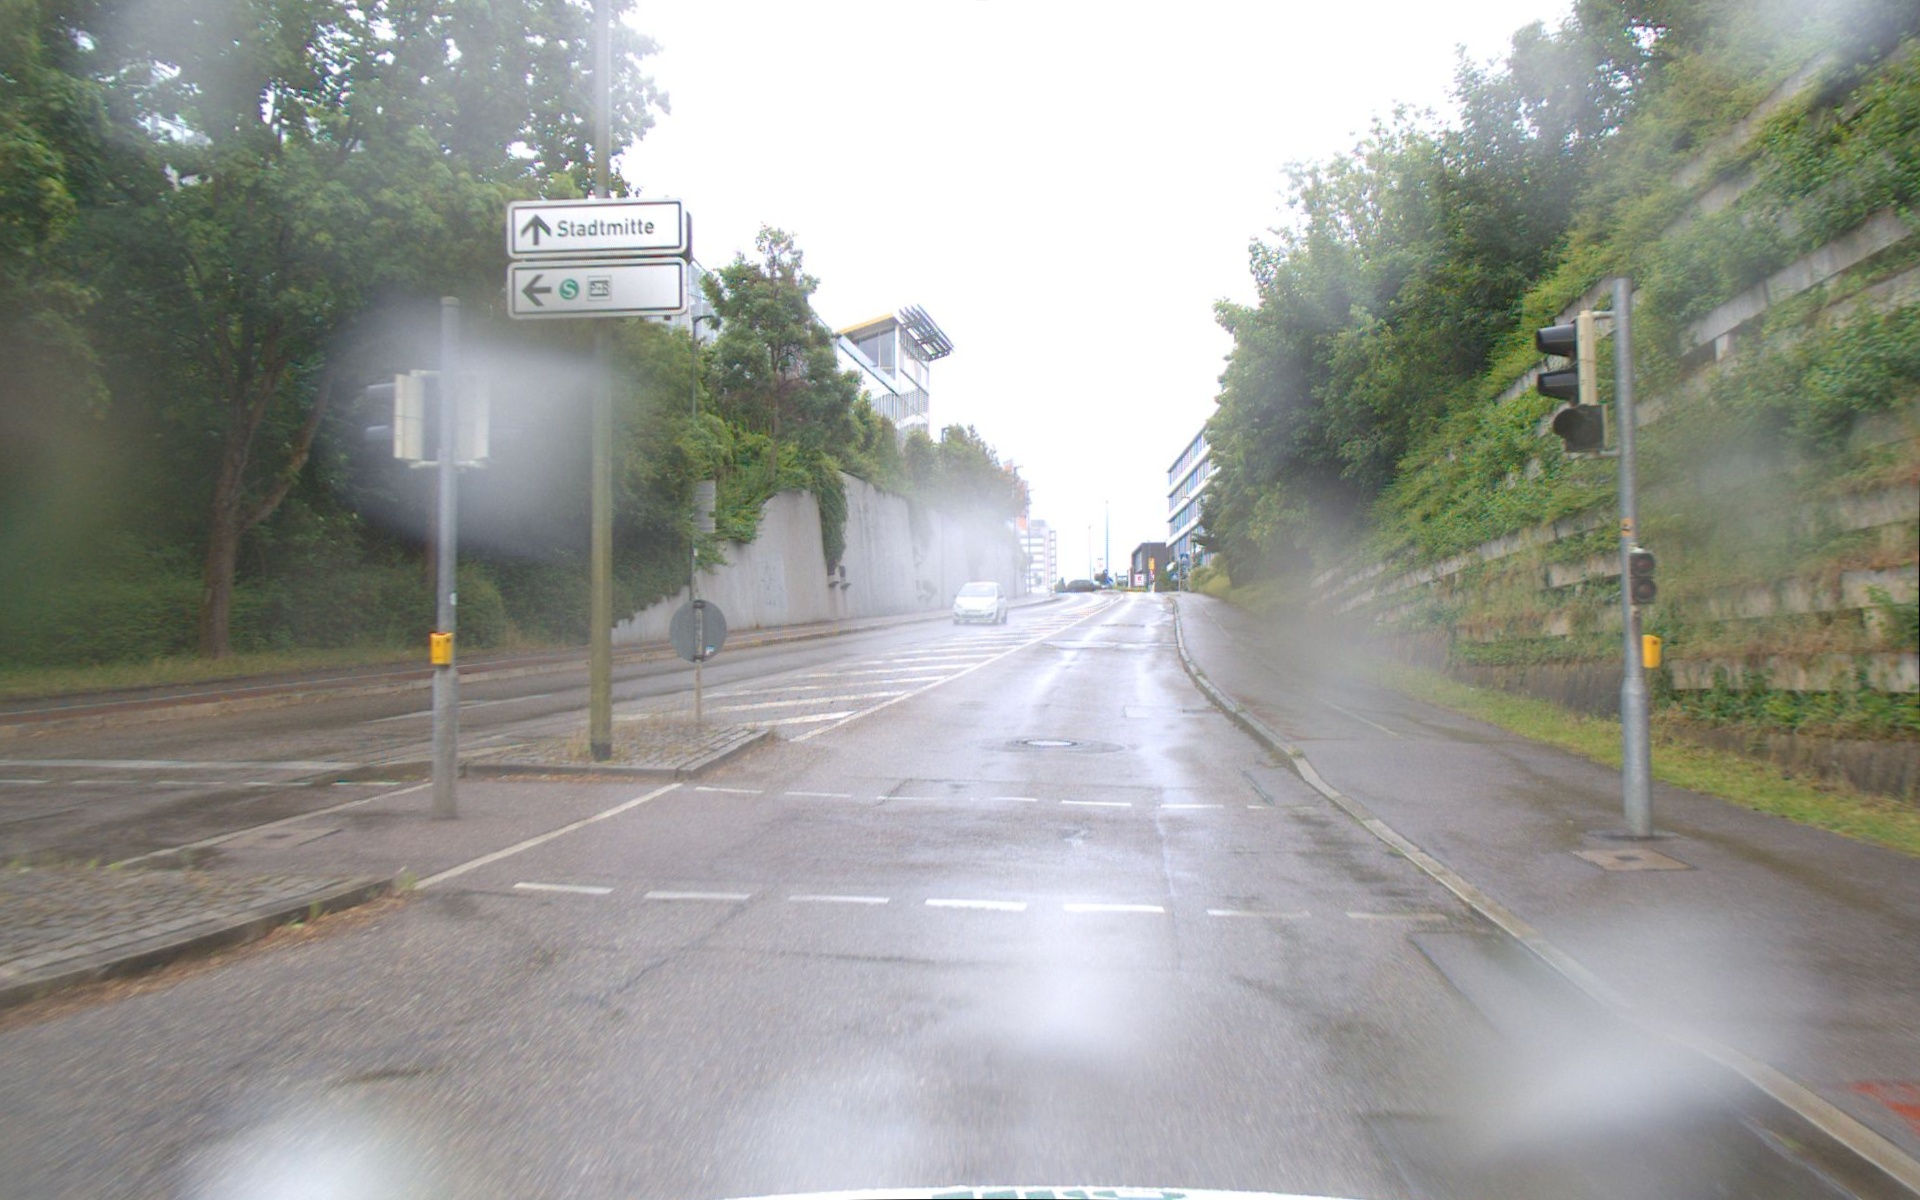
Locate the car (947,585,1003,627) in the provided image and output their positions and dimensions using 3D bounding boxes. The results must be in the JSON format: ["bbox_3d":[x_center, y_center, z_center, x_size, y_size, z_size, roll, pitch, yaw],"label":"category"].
[{"bbox_3d":[0.505,0.231,59.846,1.484,1.474,3.809,1,-1,-8],"label":"car"}]
